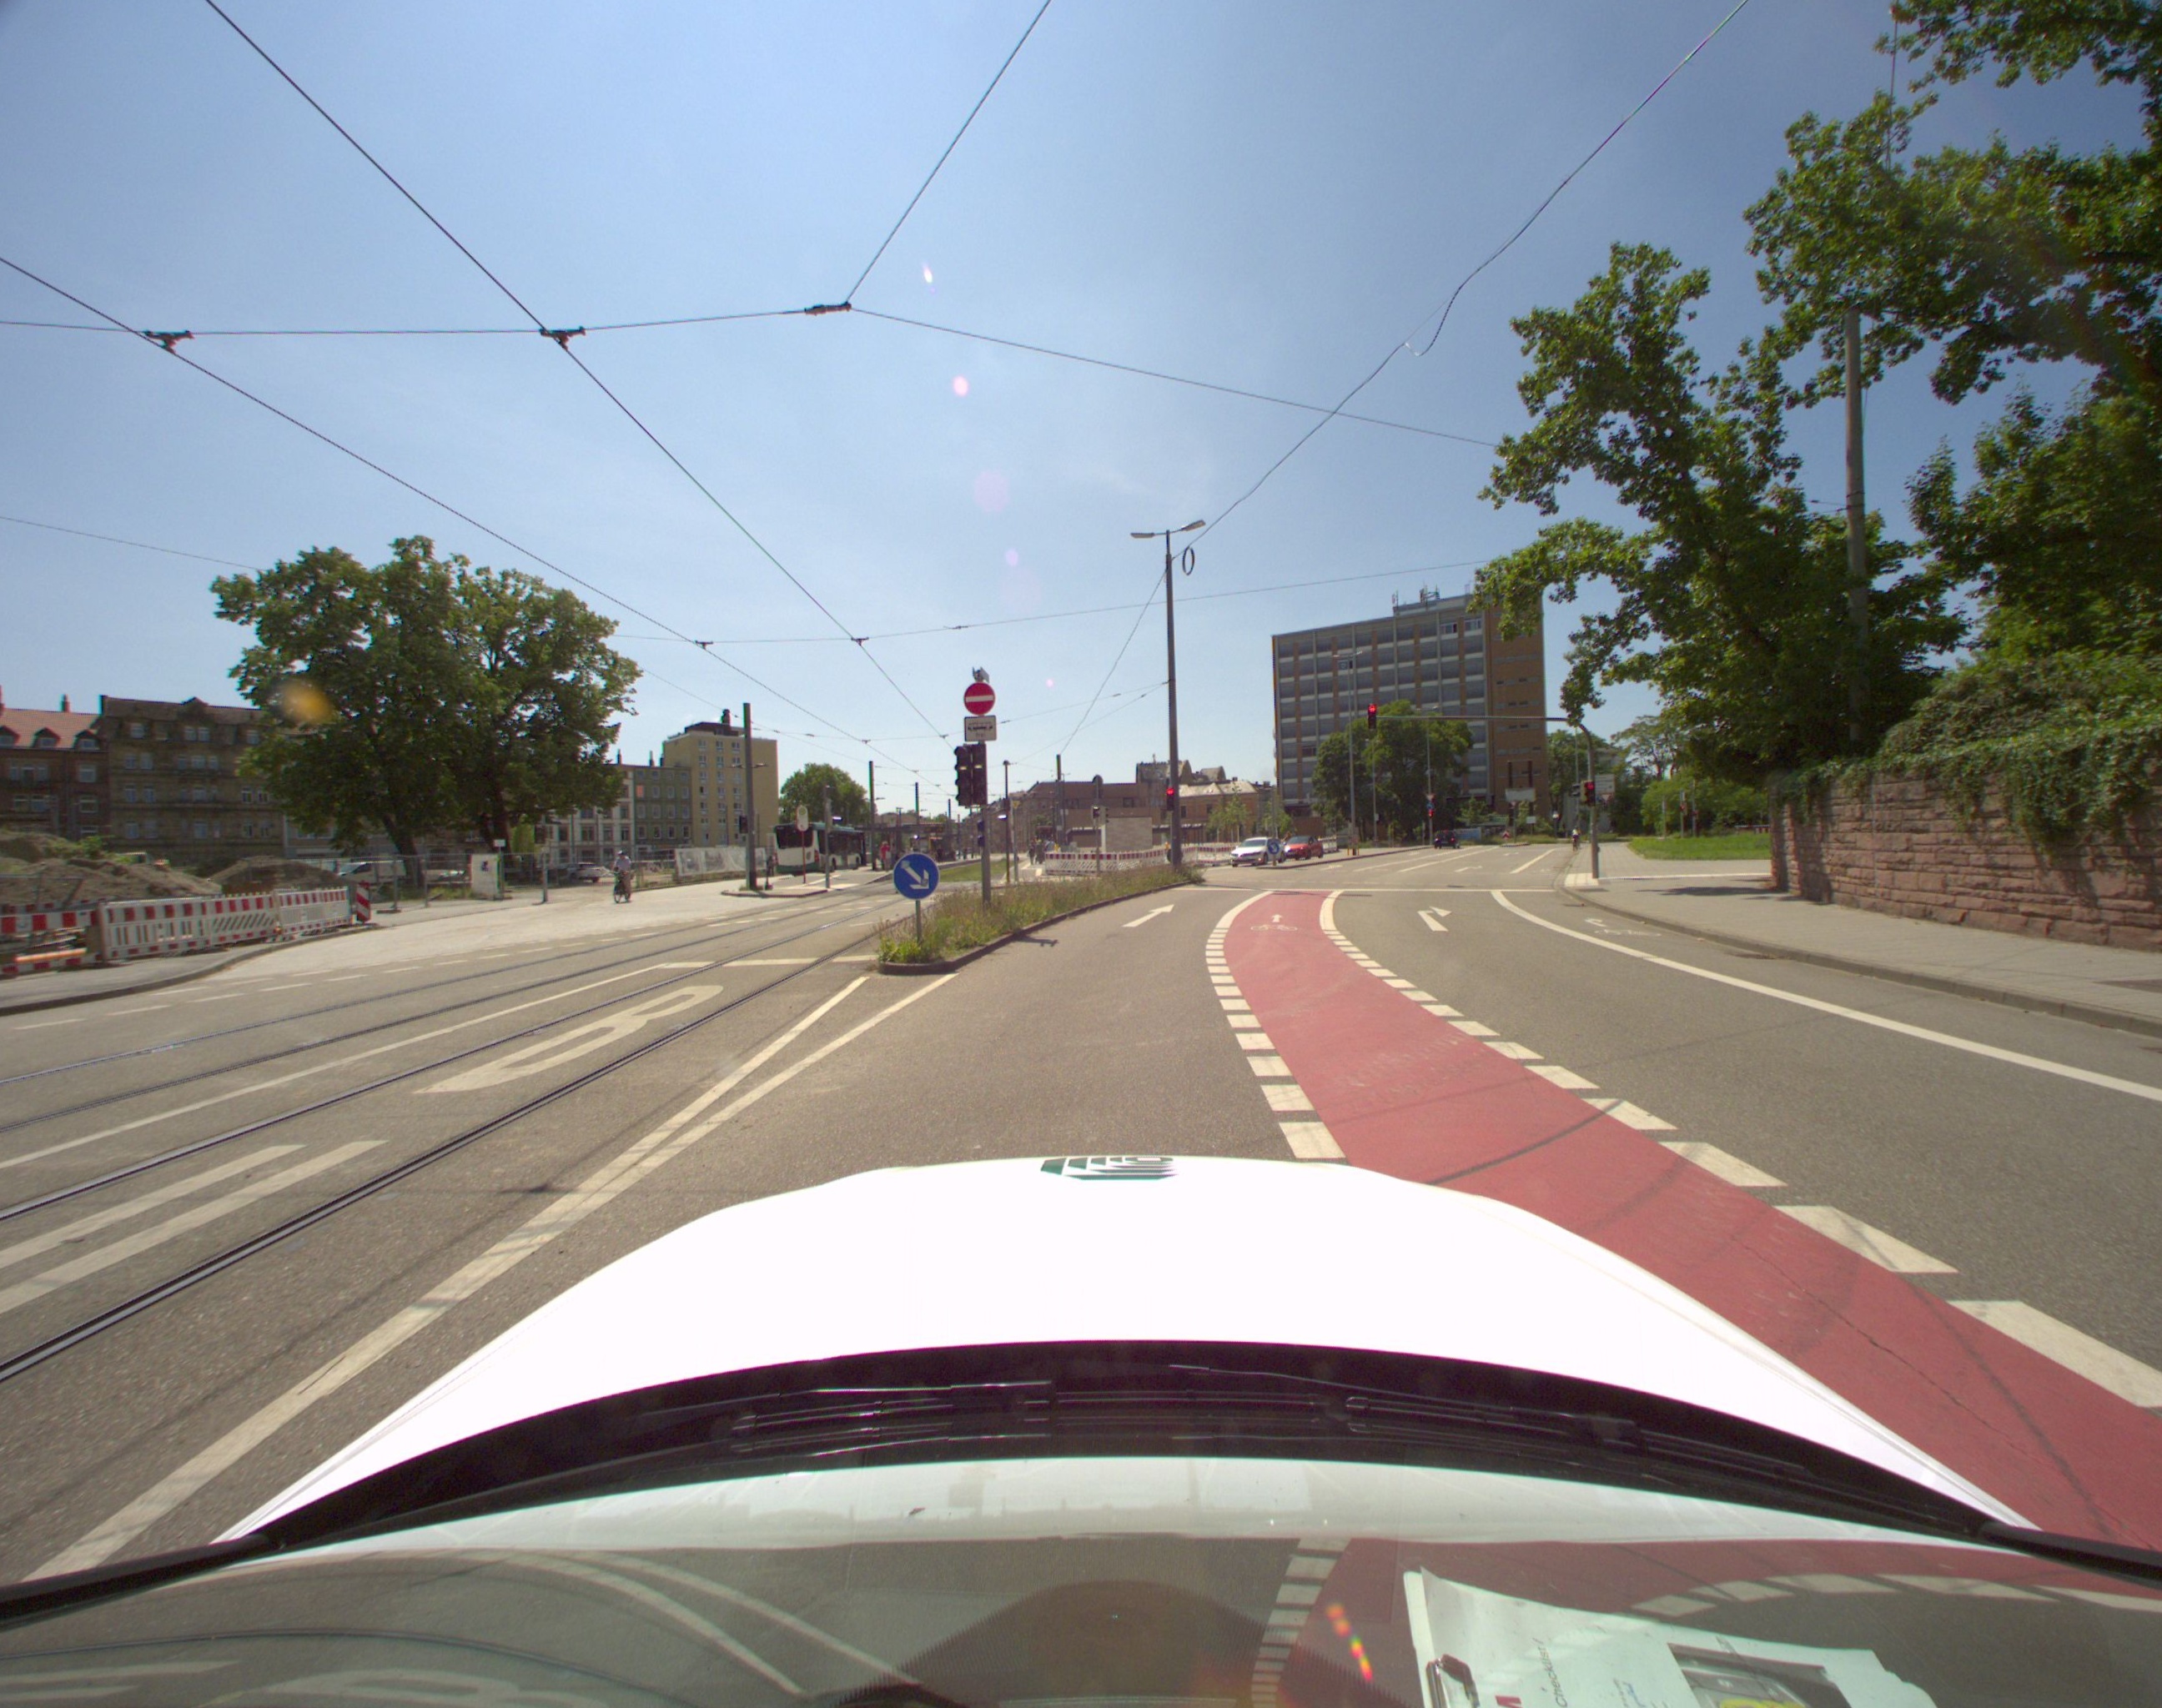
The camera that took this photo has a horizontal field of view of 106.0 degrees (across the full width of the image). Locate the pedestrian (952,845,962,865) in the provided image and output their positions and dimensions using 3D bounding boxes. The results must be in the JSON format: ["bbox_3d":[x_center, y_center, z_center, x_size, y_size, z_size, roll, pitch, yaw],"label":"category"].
[{"bbox_3d":[-13.370,0.134,87.729,0.827,2.096,0.901,-2,0,-3],"label":"pedestrian"}]

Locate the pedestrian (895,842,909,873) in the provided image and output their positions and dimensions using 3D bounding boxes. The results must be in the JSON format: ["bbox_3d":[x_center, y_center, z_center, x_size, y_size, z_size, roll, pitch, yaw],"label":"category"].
[{"bbox_3d":[-12.573,0.241,57.208,0.900,2.096,0.828,-2,0,-14],"label":"pedestrian"}]

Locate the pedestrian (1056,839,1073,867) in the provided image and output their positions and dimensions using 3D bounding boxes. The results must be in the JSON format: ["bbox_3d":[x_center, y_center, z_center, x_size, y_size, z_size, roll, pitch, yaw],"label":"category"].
[{"bbox_3d":[-1.094,-0.094,55.043,0.979,1.832,0.630,-2,0,-17],"label":"pedestrian"}]

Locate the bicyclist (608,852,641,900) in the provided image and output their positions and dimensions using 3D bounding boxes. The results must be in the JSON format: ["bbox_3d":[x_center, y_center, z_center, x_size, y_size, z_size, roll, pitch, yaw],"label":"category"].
[{"bbox_3d":[-16.665,0.799,29.727,0.822,1.709,0.766,-2,0,-15],"label":"bicyclist"}]

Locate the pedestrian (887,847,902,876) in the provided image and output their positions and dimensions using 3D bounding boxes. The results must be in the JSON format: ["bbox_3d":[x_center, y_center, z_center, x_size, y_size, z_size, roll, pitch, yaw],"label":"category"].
[{"bbox_3d":[-12.356,0.498,53.943,0.912,1.851,0.655,-2,0,-12],"label":"pedestrian"}]

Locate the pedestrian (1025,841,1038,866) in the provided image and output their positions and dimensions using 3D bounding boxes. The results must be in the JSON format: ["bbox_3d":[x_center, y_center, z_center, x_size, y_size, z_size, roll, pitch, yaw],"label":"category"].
[{"bbox_3d":[-3.356,-0.043,55.311,0.727,1.707,0.740,-1,-1,-14],"label":"pedestrian"}]

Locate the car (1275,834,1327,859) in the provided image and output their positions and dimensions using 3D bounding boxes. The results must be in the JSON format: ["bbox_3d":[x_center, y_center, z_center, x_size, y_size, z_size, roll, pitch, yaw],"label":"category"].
[{"bbox_3d":[13.262,-0.448,48.995,1.714,1.425,4.150,-2,0,34],"label":"car"}]

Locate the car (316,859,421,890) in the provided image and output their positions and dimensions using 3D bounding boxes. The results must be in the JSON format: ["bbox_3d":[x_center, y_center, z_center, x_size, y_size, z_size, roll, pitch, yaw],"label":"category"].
[{"bbox_3d":[-49.466,1.371,56.708,2.094,1.884,5.062,-2,1,18],"label":"car"}]

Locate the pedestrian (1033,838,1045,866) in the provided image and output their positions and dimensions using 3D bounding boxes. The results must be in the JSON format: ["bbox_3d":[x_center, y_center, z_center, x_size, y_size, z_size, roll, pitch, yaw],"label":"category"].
[{"bbox_3d":[-2.935,-0.129,56.547,0.718,1.923,1.072,-1,-1,-7],"label":"pedestrian"}]

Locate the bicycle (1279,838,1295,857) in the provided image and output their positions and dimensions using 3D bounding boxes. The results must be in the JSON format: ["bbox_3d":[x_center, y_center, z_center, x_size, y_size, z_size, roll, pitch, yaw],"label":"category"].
[{"bbox_3d":[13.402,-0.424,52.993,0.394,1.174,1.782,-2,1,35],"label":"bicycle"}]

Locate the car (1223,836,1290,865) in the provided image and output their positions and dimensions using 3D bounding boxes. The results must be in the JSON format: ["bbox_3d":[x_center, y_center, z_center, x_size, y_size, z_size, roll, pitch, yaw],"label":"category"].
[{"bbox_3d":[9.367,-0.194,43.175,1.974,1.438,4.735,-2,0,32],"label":"car"}]

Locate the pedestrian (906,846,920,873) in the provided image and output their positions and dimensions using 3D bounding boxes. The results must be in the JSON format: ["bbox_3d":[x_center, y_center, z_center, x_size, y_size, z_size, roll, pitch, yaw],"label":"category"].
[{"bbox_3d":[-13.286,0.459,64.437,0.895,2.096,0.832,-2,0,2],"label":"pedestrian"}]

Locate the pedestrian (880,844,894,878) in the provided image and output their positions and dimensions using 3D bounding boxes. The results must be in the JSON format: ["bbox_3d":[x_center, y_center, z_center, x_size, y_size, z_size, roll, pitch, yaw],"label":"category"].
[{"bbox_3d":[-11.017,0.396,46.252,0.673,1.909,0.638,-2,0,-12],"label":"pedestrian"}]

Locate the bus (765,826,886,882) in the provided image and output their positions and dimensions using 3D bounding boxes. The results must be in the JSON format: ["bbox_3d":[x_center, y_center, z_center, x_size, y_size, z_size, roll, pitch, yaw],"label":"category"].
[{"bbox_3d":[-16.801,-0.077,55.642,3.002,3.157,17.488,-2,1,-1],"label":"bus"}]

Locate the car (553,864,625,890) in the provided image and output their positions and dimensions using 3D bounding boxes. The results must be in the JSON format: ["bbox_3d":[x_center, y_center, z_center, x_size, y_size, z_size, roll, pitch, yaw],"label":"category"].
[{"bbox_3d":[-35.053,1.606,58.076,4.157,1.649,1.857,-2,0,9],"label":"car"}]

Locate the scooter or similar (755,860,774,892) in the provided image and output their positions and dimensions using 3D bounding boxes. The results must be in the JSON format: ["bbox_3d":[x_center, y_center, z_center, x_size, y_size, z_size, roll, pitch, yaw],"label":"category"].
[{"bbox_3d":[-12.186,0.838,31.360,0.318,1.206,1.246,-2,0,-7],"label":"scooter or similar"}]

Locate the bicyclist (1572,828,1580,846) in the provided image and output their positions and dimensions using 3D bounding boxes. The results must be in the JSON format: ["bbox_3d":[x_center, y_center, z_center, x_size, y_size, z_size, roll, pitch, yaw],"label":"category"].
[{"bbox_3d":[34.075,-1.153,56.042,0.348,1.227,0.567,-2,0,26],"label":"bicyclist"}]

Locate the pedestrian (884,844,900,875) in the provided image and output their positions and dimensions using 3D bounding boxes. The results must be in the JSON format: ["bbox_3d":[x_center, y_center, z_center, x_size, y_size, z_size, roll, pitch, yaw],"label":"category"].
[{"bbox_3d":[-12.199,0.340,52.610,0.942,1.990,1.024,-2,0,-12],"label":"pedestrian"}]

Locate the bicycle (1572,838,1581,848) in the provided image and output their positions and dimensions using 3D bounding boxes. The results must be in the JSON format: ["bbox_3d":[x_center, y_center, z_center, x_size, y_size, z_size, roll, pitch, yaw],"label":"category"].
[{"bbox_3d":[34.085,-0.740,56.015,0.373,0.646,1.654,-2,1,26],"label":"bicycle"}]

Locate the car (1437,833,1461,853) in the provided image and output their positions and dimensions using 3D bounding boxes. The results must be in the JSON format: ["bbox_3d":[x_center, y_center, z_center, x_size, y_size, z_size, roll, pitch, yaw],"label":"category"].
[{"bbox_3d":[29.877,-0.922,66.154,1.674,1.526,3.710,0,1,23],"label":"car"}]

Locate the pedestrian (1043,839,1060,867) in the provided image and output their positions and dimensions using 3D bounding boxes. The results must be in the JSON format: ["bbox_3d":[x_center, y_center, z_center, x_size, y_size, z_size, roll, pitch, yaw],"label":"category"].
[{"bbox_3d":[-1.937,-0.056,53.857,0.771,1.864,0.721,-1,-1,-43],"label":"pedestrian"}]

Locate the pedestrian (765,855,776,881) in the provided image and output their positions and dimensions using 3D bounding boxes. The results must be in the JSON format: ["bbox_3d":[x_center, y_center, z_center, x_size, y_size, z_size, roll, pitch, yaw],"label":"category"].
[{"bbox_3d":[-21.197,0.952,55.585,0.566,1.705,0.396,-2,0,-10],"label":"pedestrian"}]

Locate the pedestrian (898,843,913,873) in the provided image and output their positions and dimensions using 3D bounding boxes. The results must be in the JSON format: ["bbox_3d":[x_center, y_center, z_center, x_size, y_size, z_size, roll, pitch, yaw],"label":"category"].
[{"bbox_3d":[-12.402,0.265,57.580,0.900,2.096,0.828,-2,0,-14],"label":"pedestrian"}]

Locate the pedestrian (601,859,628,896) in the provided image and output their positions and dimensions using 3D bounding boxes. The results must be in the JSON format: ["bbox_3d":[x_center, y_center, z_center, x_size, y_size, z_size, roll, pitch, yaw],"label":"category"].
[{"bbox_3d":[-21.073,1.049,36.806,0.602,1.602,0.828,-2,0,8],"label":"pedestrian"}]

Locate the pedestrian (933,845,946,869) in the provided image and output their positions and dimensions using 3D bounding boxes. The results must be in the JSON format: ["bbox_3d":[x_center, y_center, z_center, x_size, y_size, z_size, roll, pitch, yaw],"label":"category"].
[{"bbox_3d":[-12.546,0.262,72.362,0.895,2.096,0.832,-2,0,2],"label":"pedestrian"}]

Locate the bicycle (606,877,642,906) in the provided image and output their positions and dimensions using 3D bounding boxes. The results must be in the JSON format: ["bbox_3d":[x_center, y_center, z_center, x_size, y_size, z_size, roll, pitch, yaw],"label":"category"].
[{"bbox_3d":[-16.621,1.340,29.650,0.504,0.914,2.359,-2,1,-14],"label":"bicycle"}]

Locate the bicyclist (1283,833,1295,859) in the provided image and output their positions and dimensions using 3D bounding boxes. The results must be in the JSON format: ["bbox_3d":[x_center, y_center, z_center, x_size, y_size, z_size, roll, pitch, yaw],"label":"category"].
[{"bbox_3d":[13.523,-0.514,53.001,0.561,1.719,0.510,-1,1,39],"label":"bicyclist"}]
